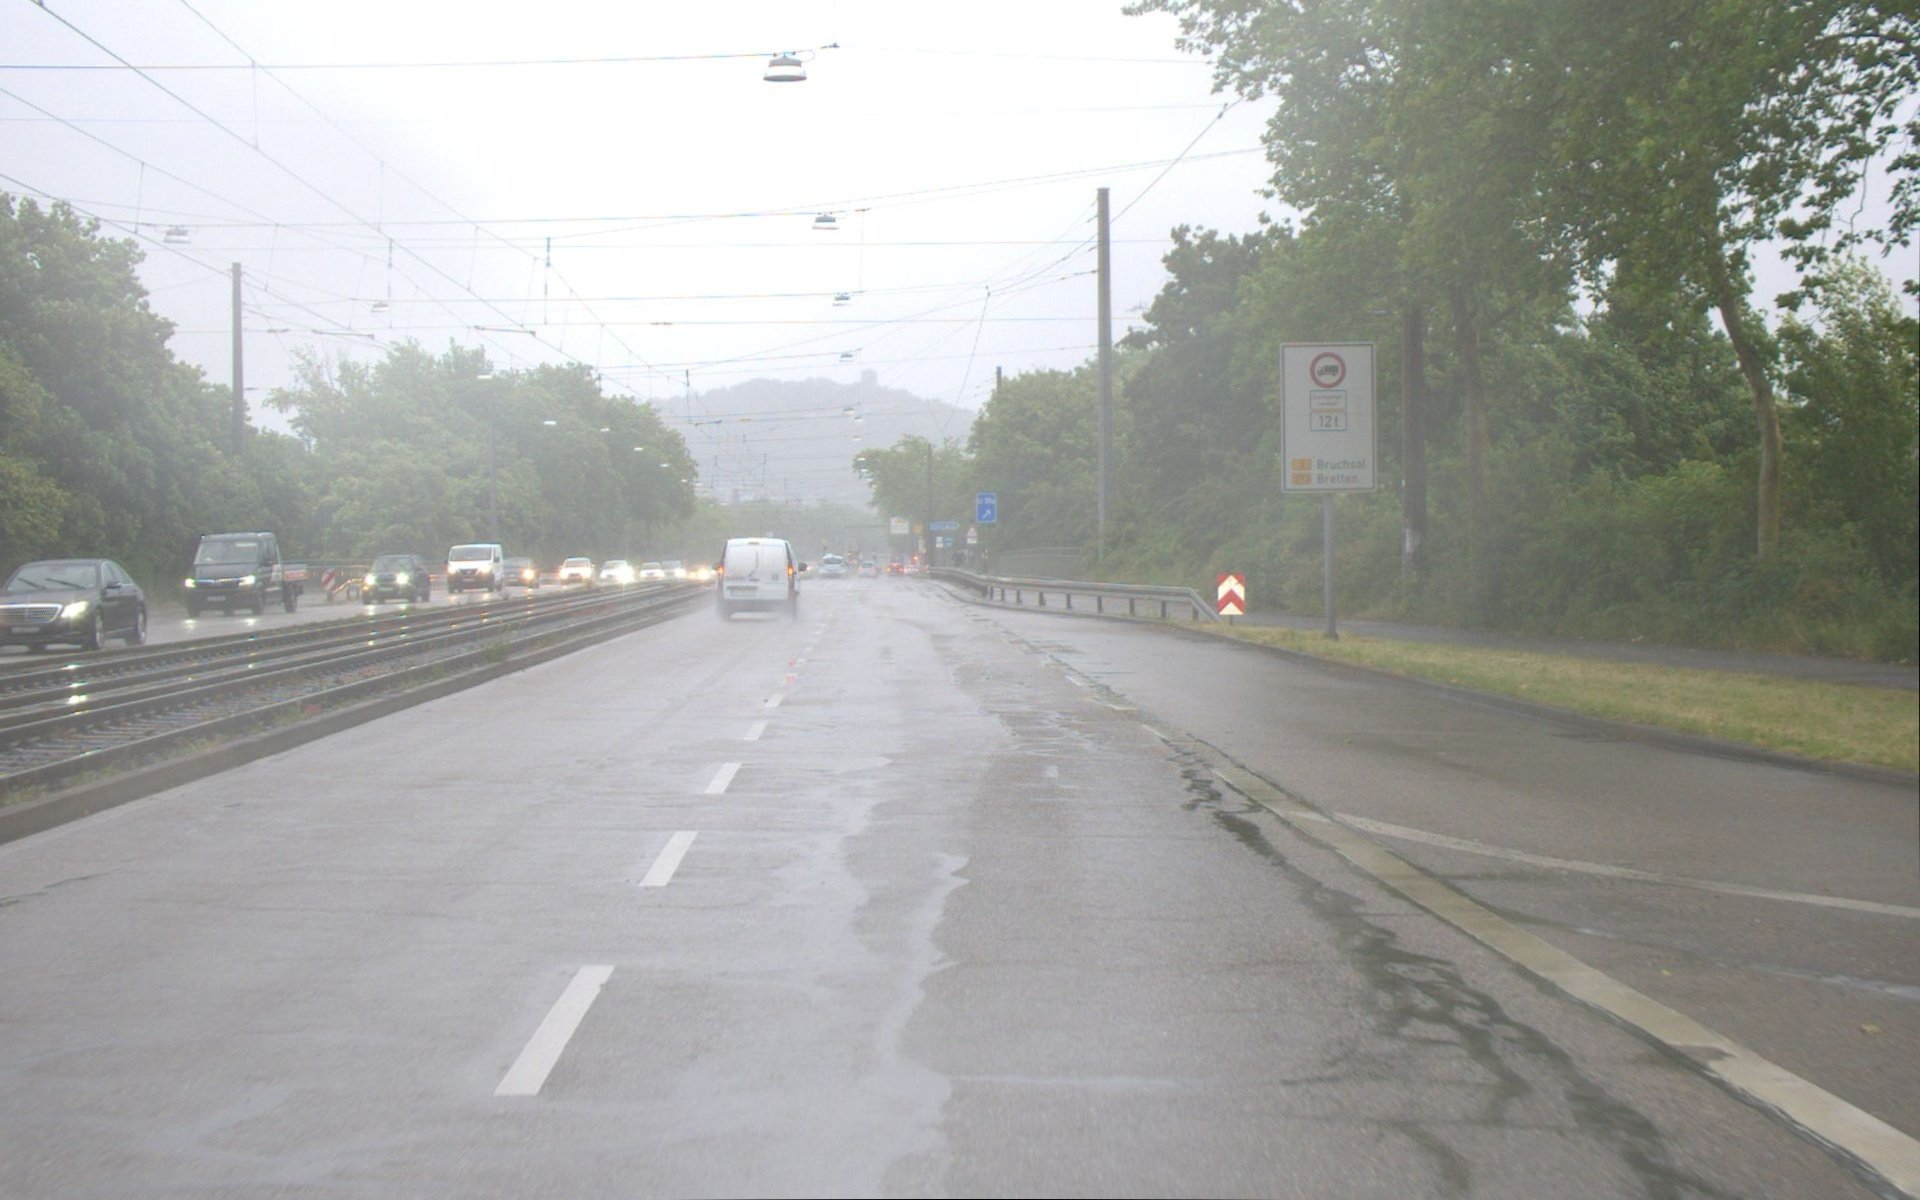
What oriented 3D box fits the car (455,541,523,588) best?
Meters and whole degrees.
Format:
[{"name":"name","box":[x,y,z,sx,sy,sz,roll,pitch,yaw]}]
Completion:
[{"name":"car","box":[-19.303,-1.480,141.023,2.040,1.769,4.986,1,2,0]}]

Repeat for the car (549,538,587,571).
[{"name":"car","box":[-21.488,-2.509,188.651,1.754,1.705,4.001,1,2,-2]}]

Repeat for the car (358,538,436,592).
[{"name":"car","box":[-19.192,-1.200,117.344,1.841,1.711,4.163,1,2,2]}]

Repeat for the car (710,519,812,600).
[{"name":"car","box":[-4.358,-0.909,75.744,1.989,1.678,3.740,1,2,0]}]

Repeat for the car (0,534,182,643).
[{"name":"car","box":[-14.221,-0.234,56.414,1.776,1.579,5.682,1,2,-2]}]

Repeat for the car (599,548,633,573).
[{"name":"car","box":[-21.681,-2.512,216.705,1.797,1.448,4.195,1,2,-1]}]

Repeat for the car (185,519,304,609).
[{"name":"car","box":[-20.076,-1.060,96.729,2.099,2.335,6.991,1,2,-2]}]
